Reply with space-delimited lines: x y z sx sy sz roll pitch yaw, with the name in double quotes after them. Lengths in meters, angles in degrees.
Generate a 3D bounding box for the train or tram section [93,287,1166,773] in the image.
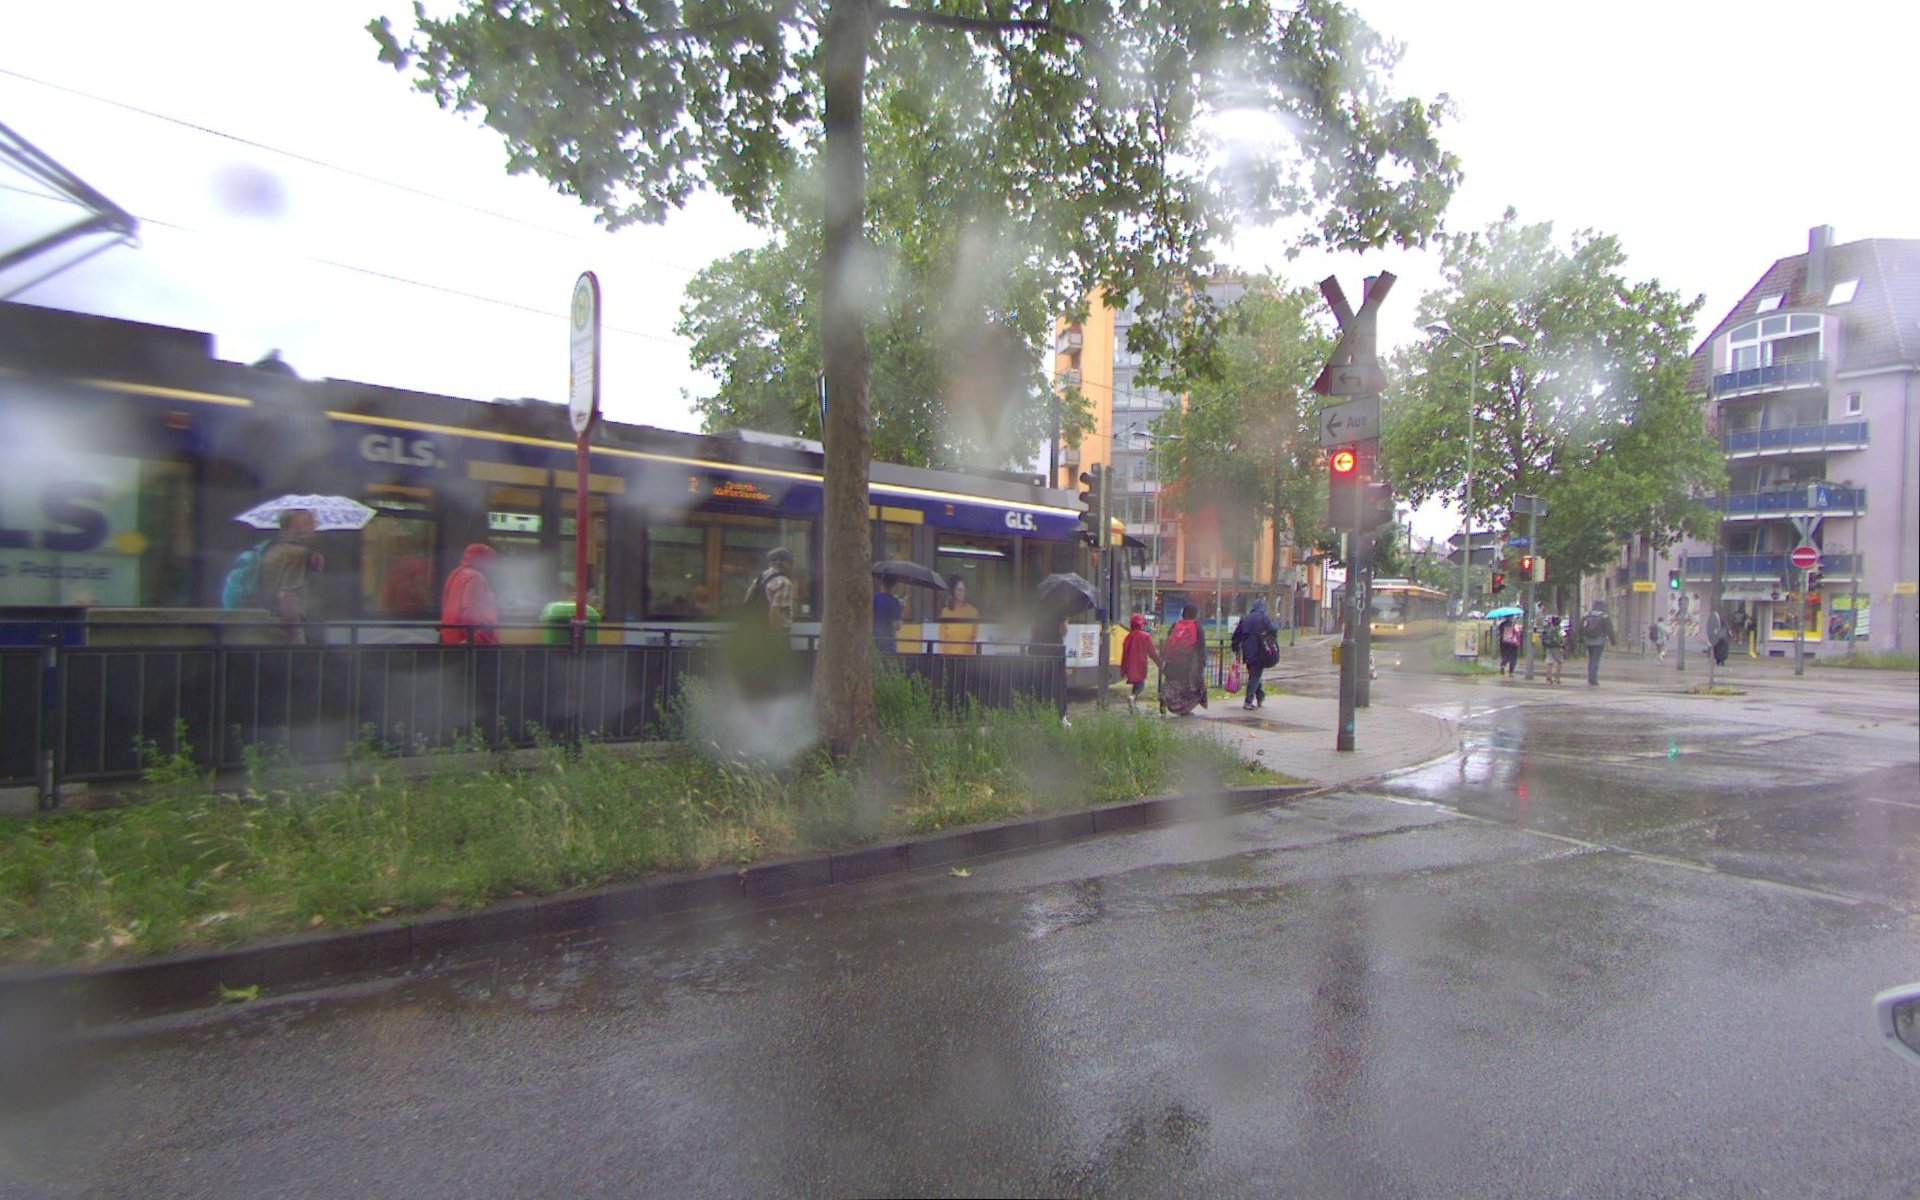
-2.345 -0.415 13.272 2.831 3.593 13.628 2 0 45 "train or tram section"

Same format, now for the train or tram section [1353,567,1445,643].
25.972 0.384 58.765 2.839 3.818 17.211 2 0 30 "train or tram section"

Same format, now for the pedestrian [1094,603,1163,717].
2.360 0.819 14.101 0.653 1.540 0.676 1 0 -38 "pedestrian"

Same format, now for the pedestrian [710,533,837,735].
-1.759 0.300 9.442 0.824 1.778 0.857 1 1 -41 "pedestrian"

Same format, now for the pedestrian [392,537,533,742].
-4.086 0.320 8.267 0.783 1.593 0.659 -2 0 24 "pedestrian"

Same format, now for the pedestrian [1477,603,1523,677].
13.648 1.001 25.385 0.943 1.789 0.951 2 0 31 "pedestrian"

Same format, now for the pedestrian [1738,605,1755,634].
37.008 0.934 47.272 0.442 1.347 0.554 2 0 -45 "pedestrian"

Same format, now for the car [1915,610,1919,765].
11.191 0.899 9.852 3.705 1.479 1.705 2 0 -31 "car"

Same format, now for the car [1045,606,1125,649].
4.958 1.083 40.320 1.585 1.551 4.017 1 1 -19 "car"

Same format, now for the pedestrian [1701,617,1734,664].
26.127 1.390 34.642 0.785 1.553 0.743 2 0 -41 "pedestrian"

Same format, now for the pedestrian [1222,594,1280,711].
4.426 0.782 15.288 0.823 1.722 0.689 -1 0 17 "pedestrian"

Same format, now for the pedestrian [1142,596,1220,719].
3.072 0.774 13.967 0.809 1.646 0.724 0 0 -37 "pedestrian"

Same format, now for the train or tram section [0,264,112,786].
-12.909 -0.682 3.402 15.249 3.593 2.835 2 0 -41 "train or tram section"

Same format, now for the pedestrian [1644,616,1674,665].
23.874 1.383 34.318 0.666 1.622 0.962 2 0 45 "pedestrian"

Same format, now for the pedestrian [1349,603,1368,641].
23.285 1.290 58.683 0.871 2.179 0.910 2 0 29 "pedestrian"

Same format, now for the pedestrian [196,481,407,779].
-4.564 0.189 6.957 1.068 1.851 0.974 -2 0 -41 "pedestrian"

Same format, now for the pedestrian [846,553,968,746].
-0.554 0.484 10.413 0.885 1.889 0.861 1 1 -41 "pedestrian"

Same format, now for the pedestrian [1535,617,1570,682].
13.241 1.091 22.437 0.639 1.414 0.781 1 0 31 "pedestrian"

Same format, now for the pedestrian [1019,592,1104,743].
1.200 0.773 11.816 0.783 1.705 0.659 -2 0 23 "pedestrian"

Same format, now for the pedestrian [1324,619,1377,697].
7.157 1.040 18.410 0.704 1.367 0.650 1 1 -44 "pedestrian"

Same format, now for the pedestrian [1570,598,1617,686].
13.868 0.901 22.000 0.777 1.880 0.679 2 1 37 "pedestrian"
